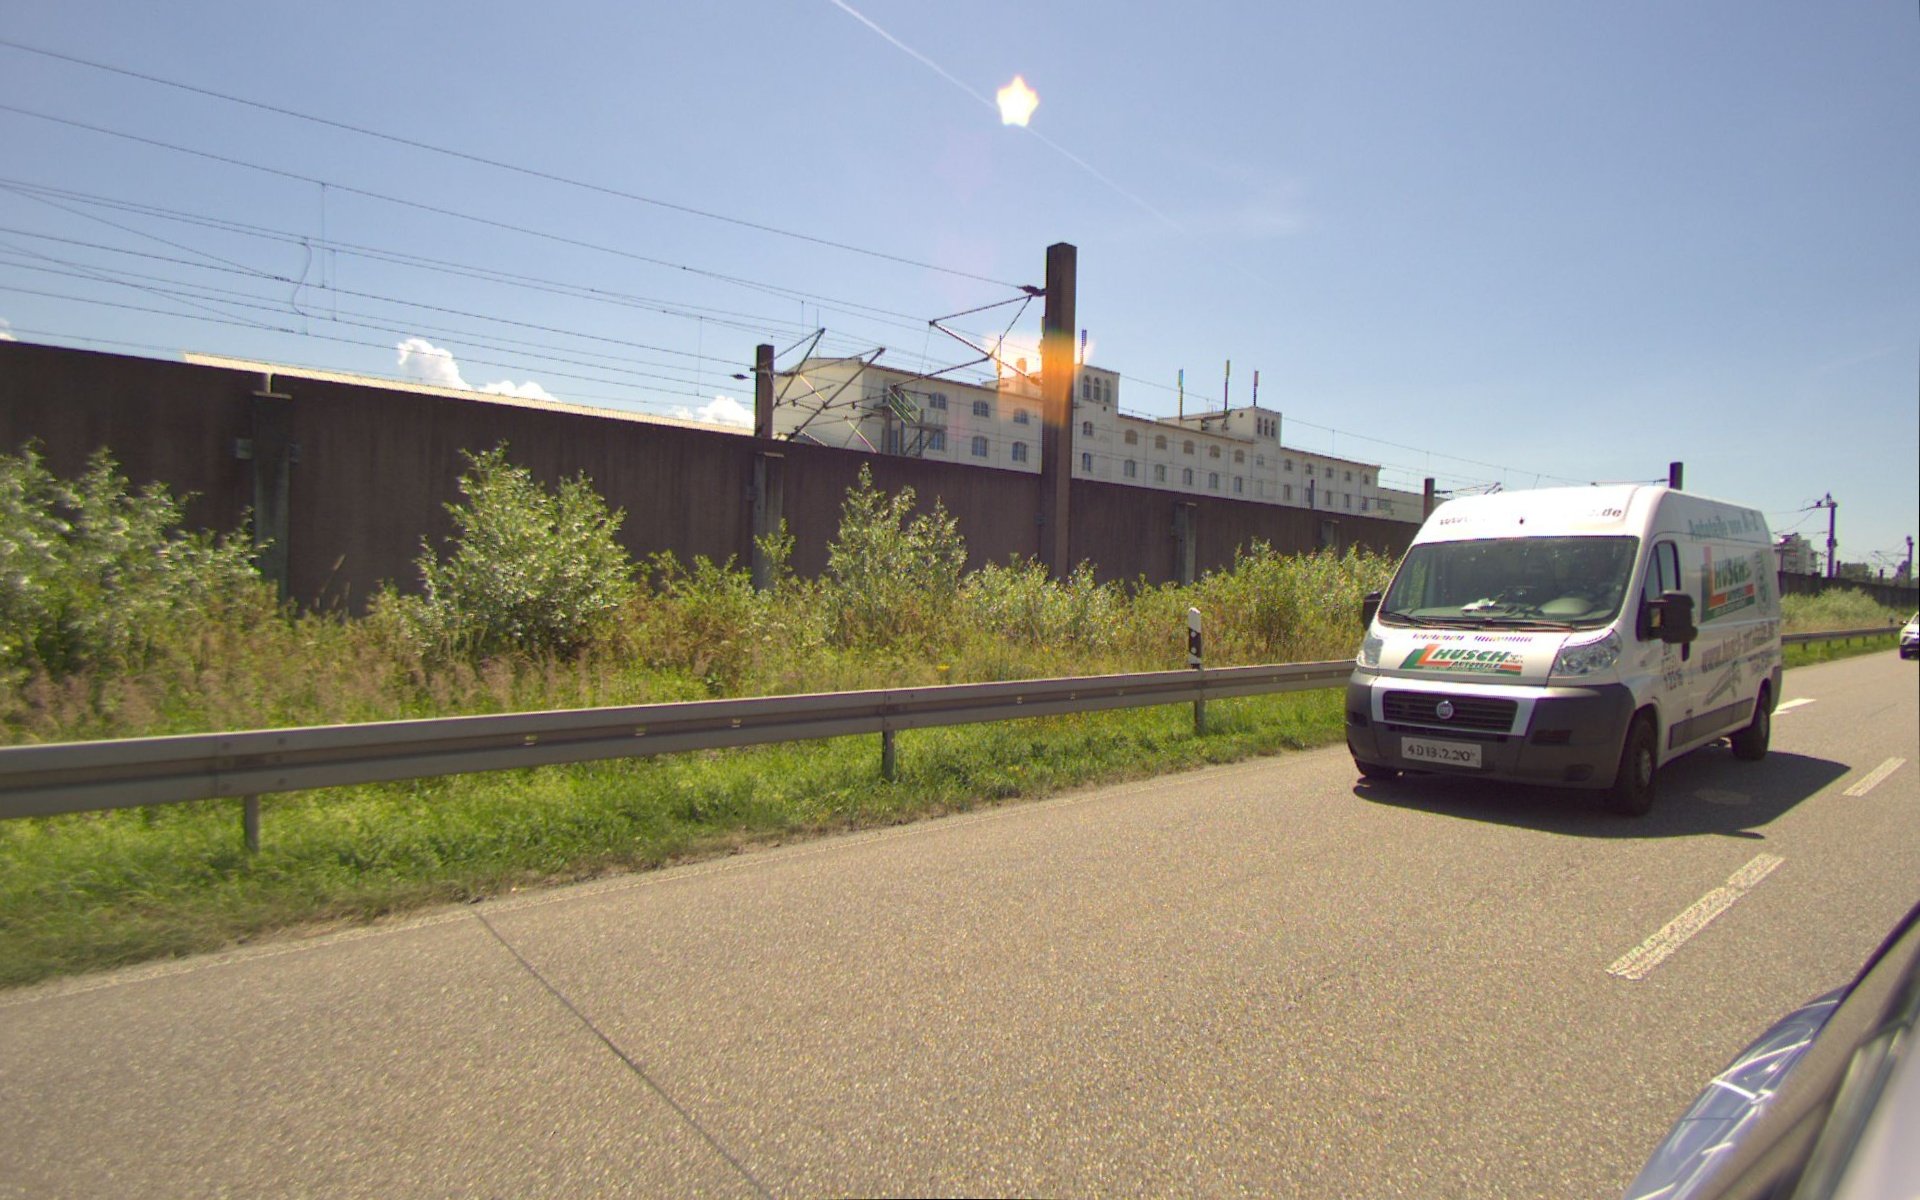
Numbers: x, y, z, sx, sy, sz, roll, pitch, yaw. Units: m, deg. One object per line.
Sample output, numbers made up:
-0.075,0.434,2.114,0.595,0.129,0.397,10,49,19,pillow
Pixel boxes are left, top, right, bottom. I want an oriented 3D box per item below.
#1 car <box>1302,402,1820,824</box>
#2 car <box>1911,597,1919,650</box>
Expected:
5.898,0.095,9.352,6.632,2.637,2.192,1,-1,-41,car
30.767,0.721,31.256,4.207,1.583,1.820,0,0,-43,car
